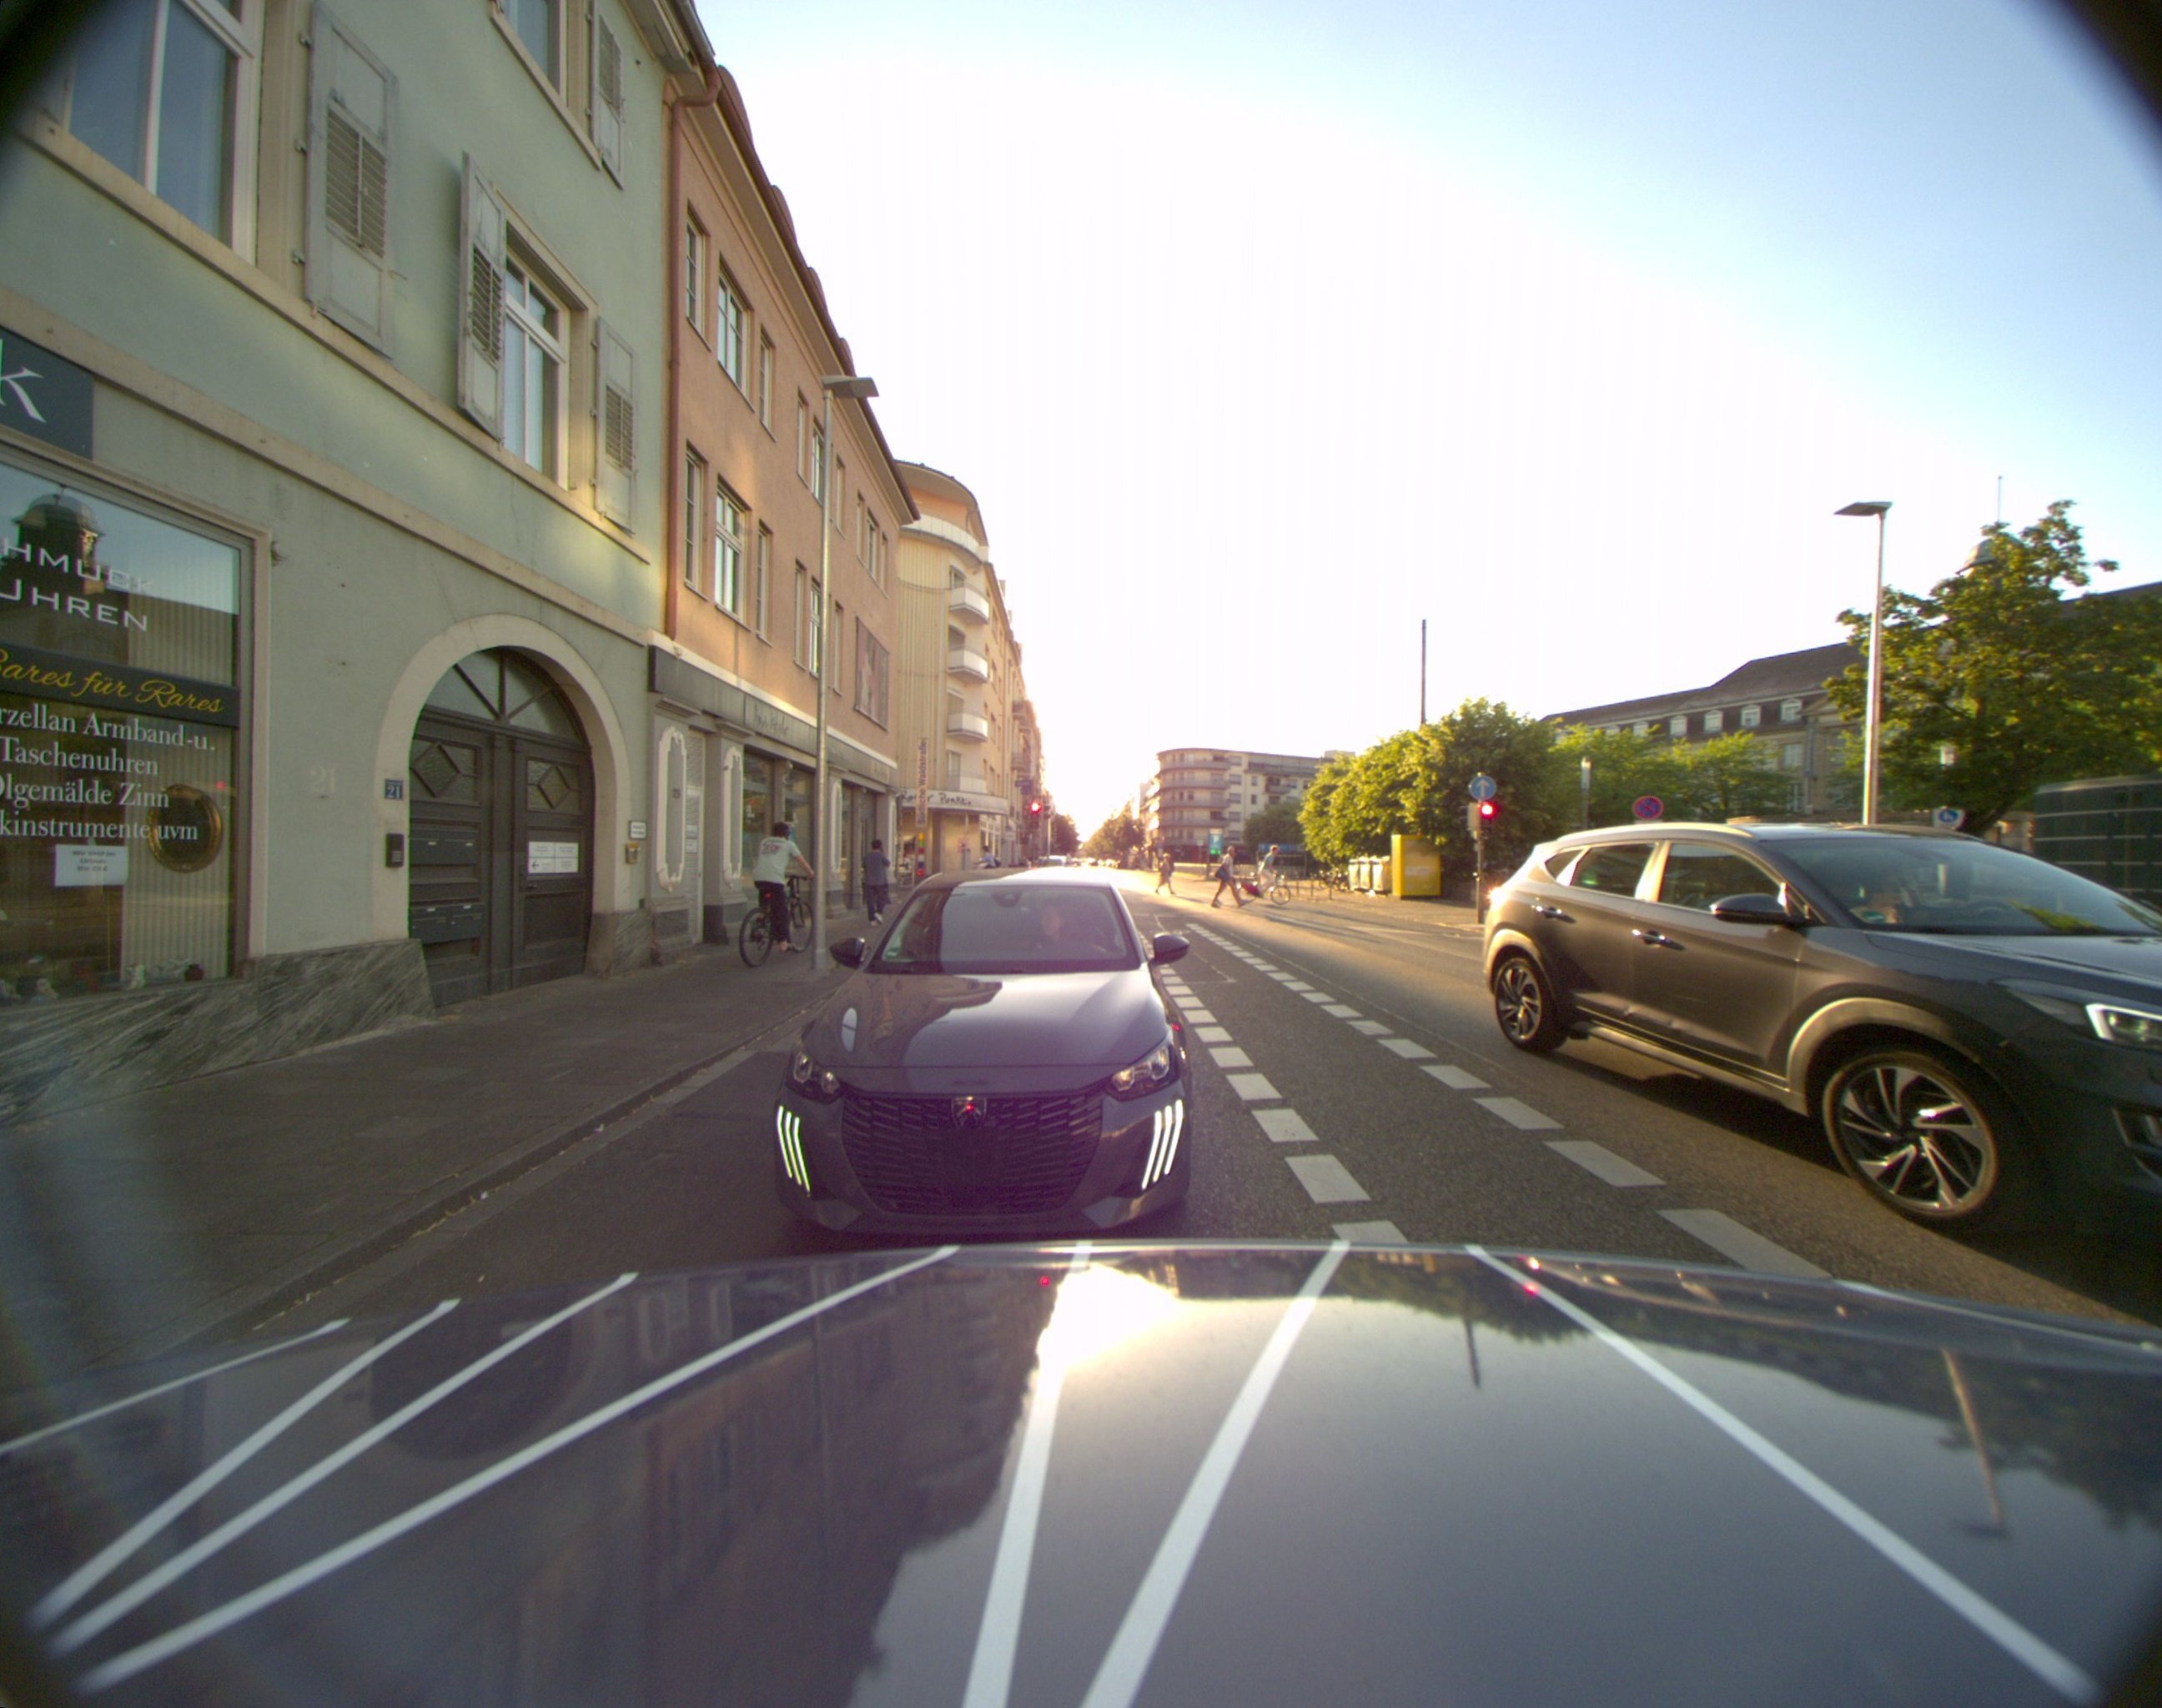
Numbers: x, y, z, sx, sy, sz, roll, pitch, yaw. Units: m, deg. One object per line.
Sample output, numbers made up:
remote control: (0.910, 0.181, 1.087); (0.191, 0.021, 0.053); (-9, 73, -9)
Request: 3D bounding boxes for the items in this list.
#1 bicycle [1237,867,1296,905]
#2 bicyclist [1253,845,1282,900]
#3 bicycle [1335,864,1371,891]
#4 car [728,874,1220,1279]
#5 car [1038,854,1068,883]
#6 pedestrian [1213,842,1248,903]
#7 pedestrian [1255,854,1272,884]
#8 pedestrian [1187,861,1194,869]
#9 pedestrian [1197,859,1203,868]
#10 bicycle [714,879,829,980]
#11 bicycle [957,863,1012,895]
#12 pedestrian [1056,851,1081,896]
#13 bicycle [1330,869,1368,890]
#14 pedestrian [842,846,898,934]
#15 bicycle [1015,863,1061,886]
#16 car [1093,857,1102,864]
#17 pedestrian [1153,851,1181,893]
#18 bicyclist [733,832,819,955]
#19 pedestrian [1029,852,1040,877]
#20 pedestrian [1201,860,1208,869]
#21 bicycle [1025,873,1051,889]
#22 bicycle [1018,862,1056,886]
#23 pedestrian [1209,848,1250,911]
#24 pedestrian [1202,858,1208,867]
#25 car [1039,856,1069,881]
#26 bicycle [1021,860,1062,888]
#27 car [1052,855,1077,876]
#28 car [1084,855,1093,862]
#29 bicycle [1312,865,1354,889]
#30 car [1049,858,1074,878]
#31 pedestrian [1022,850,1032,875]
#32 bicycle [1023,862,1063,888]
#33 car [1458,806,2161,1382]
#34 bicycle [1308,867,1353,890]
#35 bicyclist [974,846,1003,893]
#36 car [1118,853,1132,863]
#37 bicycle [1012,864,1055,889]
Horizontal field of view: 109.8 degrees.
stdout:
bicycle: (6.198, 1.056, 25.440); (1.823, 1.179, 0.794); (1, 0, 9)
bicyclist: (6.218, 0.616, 25.416); (0.835, 1.815, 0.831); (1, 0, 8)
bicycle: (13.194, 1.134, 36.843); (1.590, 1.245, 0.445); (-1, 0, -2)
car: (-0.448, 0.923, 5.184); (1.908, 1.438, 4.449); (0, 0, -1)
car: (-1.636, 0.840, 44.733); (1.702, 1.607, 4.682); (0, 0, -2)
pedestrian: (4.679, 0.571, 23.850); (0.940, 1.886, 0.826); (1, 0, 3)
pedestrian: (11.069, 0.896, 46.059); (0.951, 1.806, 0.827); (1, 0, 13)
pedestrian: (15.813, 1.555, 109.824); (0.887, 1.185, 0.733); (0, 0, 9)
pedestrian: (17.429, 1.320, 111.341); (0.732, 1.314, 0.889); (0, 0, -1)
bicycle: (-3.891, 0.910, 9.730); (0.692, 1.100, 1.896); (1, 0, 0)
bicycle: (-3.607, 0.921, 28.420); (1.917, 1.111, 0.706); (1, 0, 17)
pedestrian: (-0.513, 0.784, 30.911); (0.871, 1.806, 0.825); (1, 0, -8)
bicycle: (13.109, 1.238, 37.236); (1.678, 0.973, 0.548); (-1, 0, -4)
pedestrian: (-4.038, 0.672, 14.610); (0.825, 1.632, 0.871); (1, 0, -2)
bicycle: (-2.127, 1.011, 37.437); (2.176, 1.069, 0.805); (2, 0, -7)
car: (3.705, 1.533, 174.180); (1.790, 1.458, 3.956); (2, 0, -1)
pedestrian: (3.435, 0.726, 30.455); (0.789, 1.643, 0.782); (1, 1, 43)
bicyclist: (-3.894, 0.481, 9.757); (0.724, 1.499, 0.900); (1, 0, 1)
pedestrian: (-3.734, 0.836, 61.193); (0.763, 2.002, 0.851); (0, 0, 0)
pedestrian: (18.123, 1.501, 111.706); (0.689, 1.314, 0.819); (0, 0, -24)
bicycle: (-1.907, 1.172, 33.411); (1.008, 0.677, 1.049); (1, 0, -9)
bicycle: (-2.221, 1.000, 38.435); (1.851, 1.117, 0.594); (2, 1, -11)
pedestrian: (4.274, 0.709, 21.910); (1.099, 1.764, 0.826); (1, 0, 8)
pedestrian: (18.183, 1.300, 111.373); (0.732, 1.314, 0.888); (0, 0, -2)
car: (-1.743, 0.926, 51.048); (1.821, 1.611, 4.203); (0, 0, 0)
bicycle: (-1.811, 0.926, 35.105); (1.849, 1.232, 0.639); (1, 0, -5)
car: (-1.304, 0.919, 62.222); (1.877, 1.664, 4.430); (0, 0, 0)
car: (1.878, 1.169, 189.663); (1.878, 1.621, 4.177); (3, -1, -5)
bicycle: (13.150, 1.194, 39.698); (2.031, 1.245, 0.548); (-1, 0, -4)
car: (-1.412, 1.020, 56.670); (1.738, 1.448, 4.610); (0, 0, 1)
pedestrian: (-4.344, 0.648, 61.151); (0.673, 2.002, 0.851); (0, 1, 0)
bicycle: (-1.812, 0.974, 35.853); (1.788, 1.166, 0.622); (2, 0, -11)
car: (4.108, 0.736, 4.121); (1.877, 1.679, 4.450); (2, 0, 0)
bicycle: (12.463, 1.216, 37.962); (2.031, 1.128, 0.548); (-1, 0, -4)
bicyclist: (-3.433, 0.560, 28.333); (0.777, 1.714, 0.856); (1, 0, 15)
car: (7.842, 0.678, 135.894); (1.999, 1.805, 3.999); (1, 0, -2)
bicycle: (-2.141, 1.004, 34.168); (1.788, 1.057, 0.718); (2, 0, -11)
